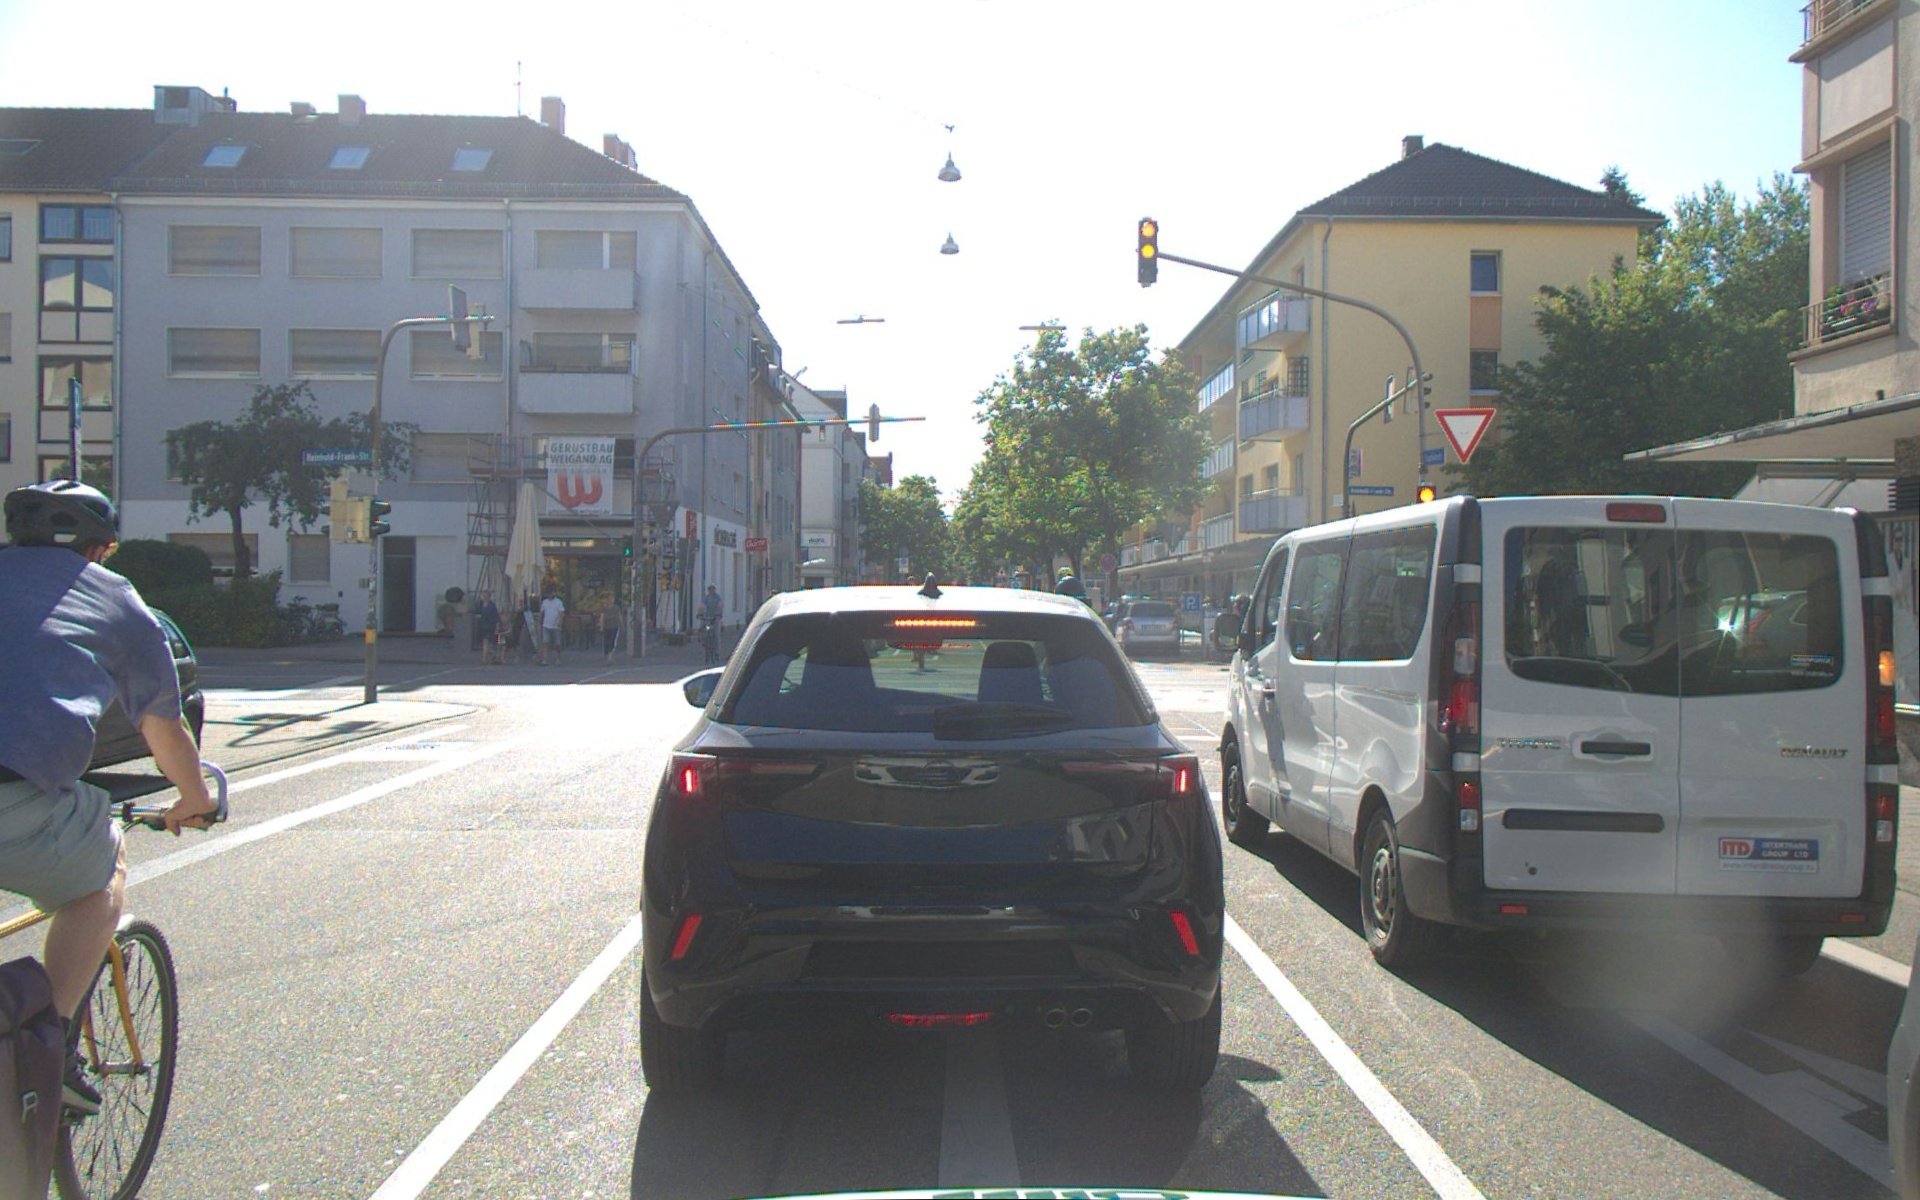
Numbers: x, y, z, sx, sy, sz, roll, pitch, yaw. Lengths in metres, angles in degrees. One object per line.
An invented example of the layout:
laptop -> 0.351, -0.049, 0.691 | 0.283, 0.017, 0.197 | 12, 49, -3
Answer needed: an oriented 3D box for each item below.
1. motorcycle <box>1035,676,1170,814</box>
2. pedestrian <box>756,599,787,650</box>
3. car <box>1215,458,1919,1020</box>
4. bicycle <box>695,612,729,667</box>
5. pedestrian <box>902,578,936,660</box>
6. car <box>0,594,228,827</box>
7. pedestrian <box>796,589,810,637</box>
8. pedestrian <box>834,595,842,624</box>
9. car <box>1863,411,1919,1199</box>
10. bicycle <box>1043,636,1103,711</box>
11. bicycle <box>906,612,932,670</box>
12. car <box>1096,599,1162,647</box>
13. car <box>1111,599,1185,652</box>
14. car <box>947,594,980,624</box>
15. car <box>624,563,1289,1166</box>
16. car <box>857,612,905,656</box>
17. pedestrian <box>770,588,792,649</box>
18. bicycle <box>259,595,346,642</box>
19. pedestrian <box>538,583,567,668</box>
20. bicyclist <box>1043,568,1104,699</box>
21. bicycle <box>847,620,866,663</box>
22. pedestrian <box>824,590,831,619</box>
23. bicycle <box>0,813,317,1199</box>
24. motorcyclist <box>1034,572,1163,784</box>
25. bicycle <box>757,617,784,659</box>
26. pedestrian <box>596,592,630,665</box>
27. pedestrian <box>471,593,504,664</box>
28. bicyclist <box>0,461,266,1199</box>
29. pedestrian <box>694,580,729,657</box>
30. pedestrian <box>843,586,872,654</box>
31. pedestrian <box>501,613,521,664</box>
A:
motorcycle -> 1.029, 1.045, 12.378 | 0.808, 0.860, 1.884 | 0, 0, -1
pedestrian -> -4.750, 0.614, 41.695 | 0.692, 1.275, 0.802 | 0, 0, -3
car -> 2.743, 0.512, 8.574 | 1.953, 2.014, 4.894 | 2, 0, -1
bicycle -> -5.620, 0.877, 37.516 | 0.511, 1.167, 2.282 | 0, 0, -3
pedestrian -> -0.879, 0.409, 35.446 | 0.692, 1.731, 0.802 | 0, 0, -3
car -> -7.100, 0.721, 12.401 | 1.584, 1.450, 3.709 | 3, 0, -1
pedestrian -> -5.709, 0.462, 60.186 | 0.478, 1.719, 0.588 | 0, 0, -1
pedestrian -> -7.169, 0.550, 97.257 | 0.394, 1.704, 0.417 | 0, 0, -1
car -> 3.002, 0.569, 1.206 | 1.799, 1.901, 4.994 | 0, 0, -3
bicycle -> 1.537, 0.989, 22.799 | 0.565, 0.920, 2.300 | 0, 0, -3
bicycle -> -0.897, 0.863, 35.553 | 0.511, 1.167, 2.169 | 0, 0, -3
car -> 5.278, 0.691, 51.999 | 1.601, 1.458, 3.999 | 0, 0, -1
car -> 5.333, 0.695, 47.320 | 1.601, 1.458, 3.956 | 0, 0, -1
car -> 0.237, 0.518, 98.540 | 1.863, 1.758, 4.074 | 0, 0, 1
car -> -0.087, 0.678, 6.318 | 1.735, 1.557, 3.998 | 0, 0, -3
car -> -3.293, 1.413, 69.784 | 1.787, 1.758, 4.000 | 0, 0, 1
pedestrian -> -5.158, 0.527, 47.664 | 0.558, 1.719, 0.588 | 0, 0, -1
bicycle -> -16.938, 0.477, 42.623 | 2.067, 1.193, 0.735 | 0, 0, -25
pedestrian -> -8.694, 0.536, 35.291 | 0.550, 1.806, 0.582 | 1, 0, -9
bicyclist -> 1.553, 0.441, 22.788 | 0.675, 1.742, 1.413 | 0, 0, -3
bicycle -> -2.513, 0.998, 40.318 | 0.434, 1.010, 2.068 | 0, 0, -3
pedestrian -> -7.795, 0.285, 97.510 | 0.394, 1.704, 0.417 | 0, 0, -1
bicycle -> -1.890, 1.023, 3.410 | 0.598, 0.897, 1.812 | 0, 1, -6
motorcyclist -> 1.033, 0.566, 12.582 | 0.846, 1.528, 1.159 | 0, 0, -2
bicycle -> -4.753, 0.942, 41.653 | 0.511, 1.010, 2.338 | 0, 0, -3
pedestrian -> -7.419, 0.597, 35.344 | 0.605, 1.547, 0.724 | 0, 0, -4
pedestrian -> -10.366, 0.612, 36.312 | 0.573, 1.547, 0.649 | 0, 0, -4
bicyclist -> -1.889, 0.432, 3.394 | 0.596, 1.370, 1.017 | 0, 1, -7
pedestrian -> -5.581, 0.405, 37.198 | 0.692, 1.707, 0.802 | 0, 0, -3
pedestrian -> -2.486, 0.487, 40.224 | 0.666, 1.634, 0.762 | 0, 0, -3
pedestrian -> -9.886, 0.848, 36.412 | 0.348, 1.111, 0.461 | 0, 0, -4
